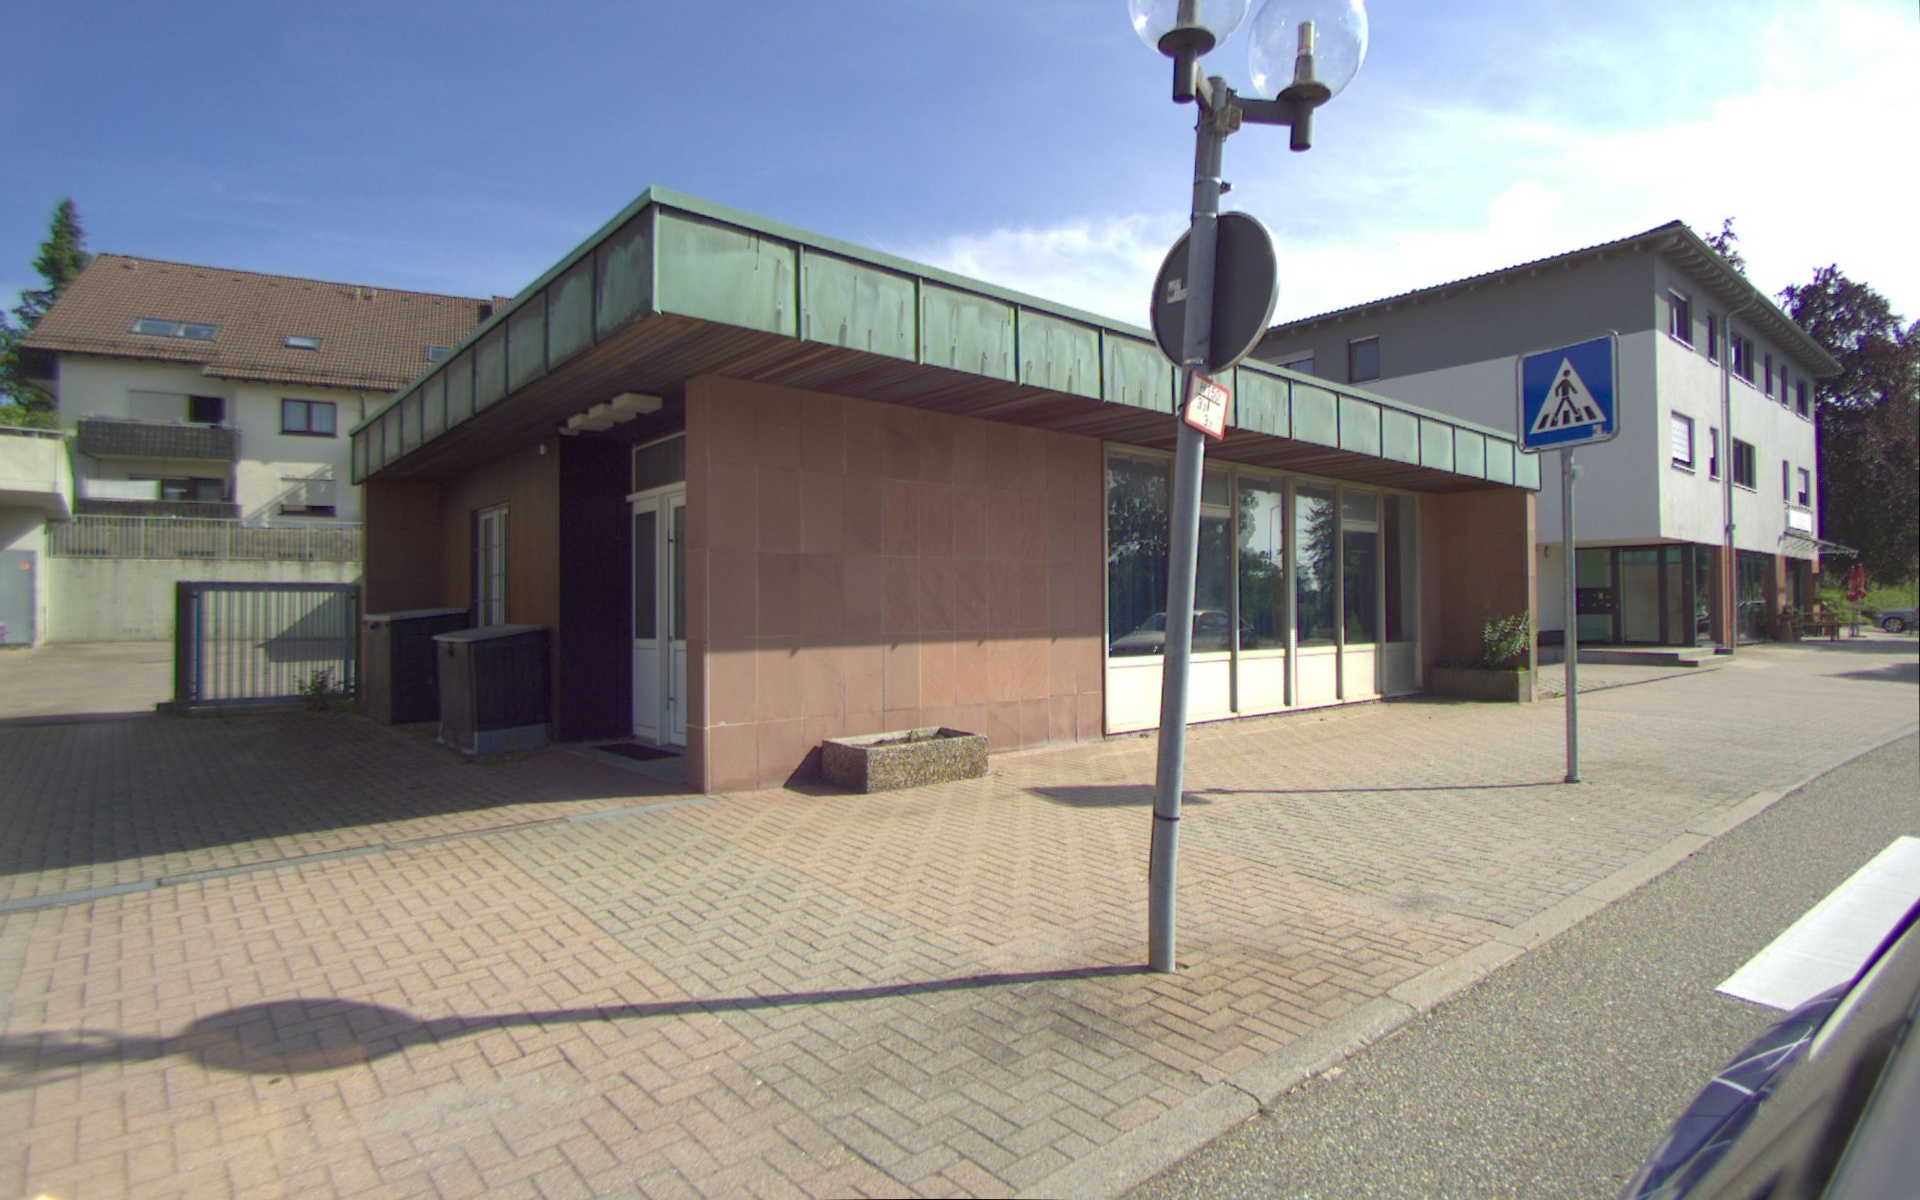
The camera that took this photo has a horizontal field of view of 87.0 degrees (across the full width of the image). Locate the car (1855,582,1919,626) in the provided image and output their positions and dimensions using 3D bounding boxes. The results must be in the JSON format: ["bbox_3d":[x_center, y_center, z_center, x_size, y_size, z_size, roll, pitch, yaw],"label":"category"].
[{"bbox_3d":[36.537,0.194,38.011,1.869,1.526,4.002,-1,5,-36],"label":"car"}]
